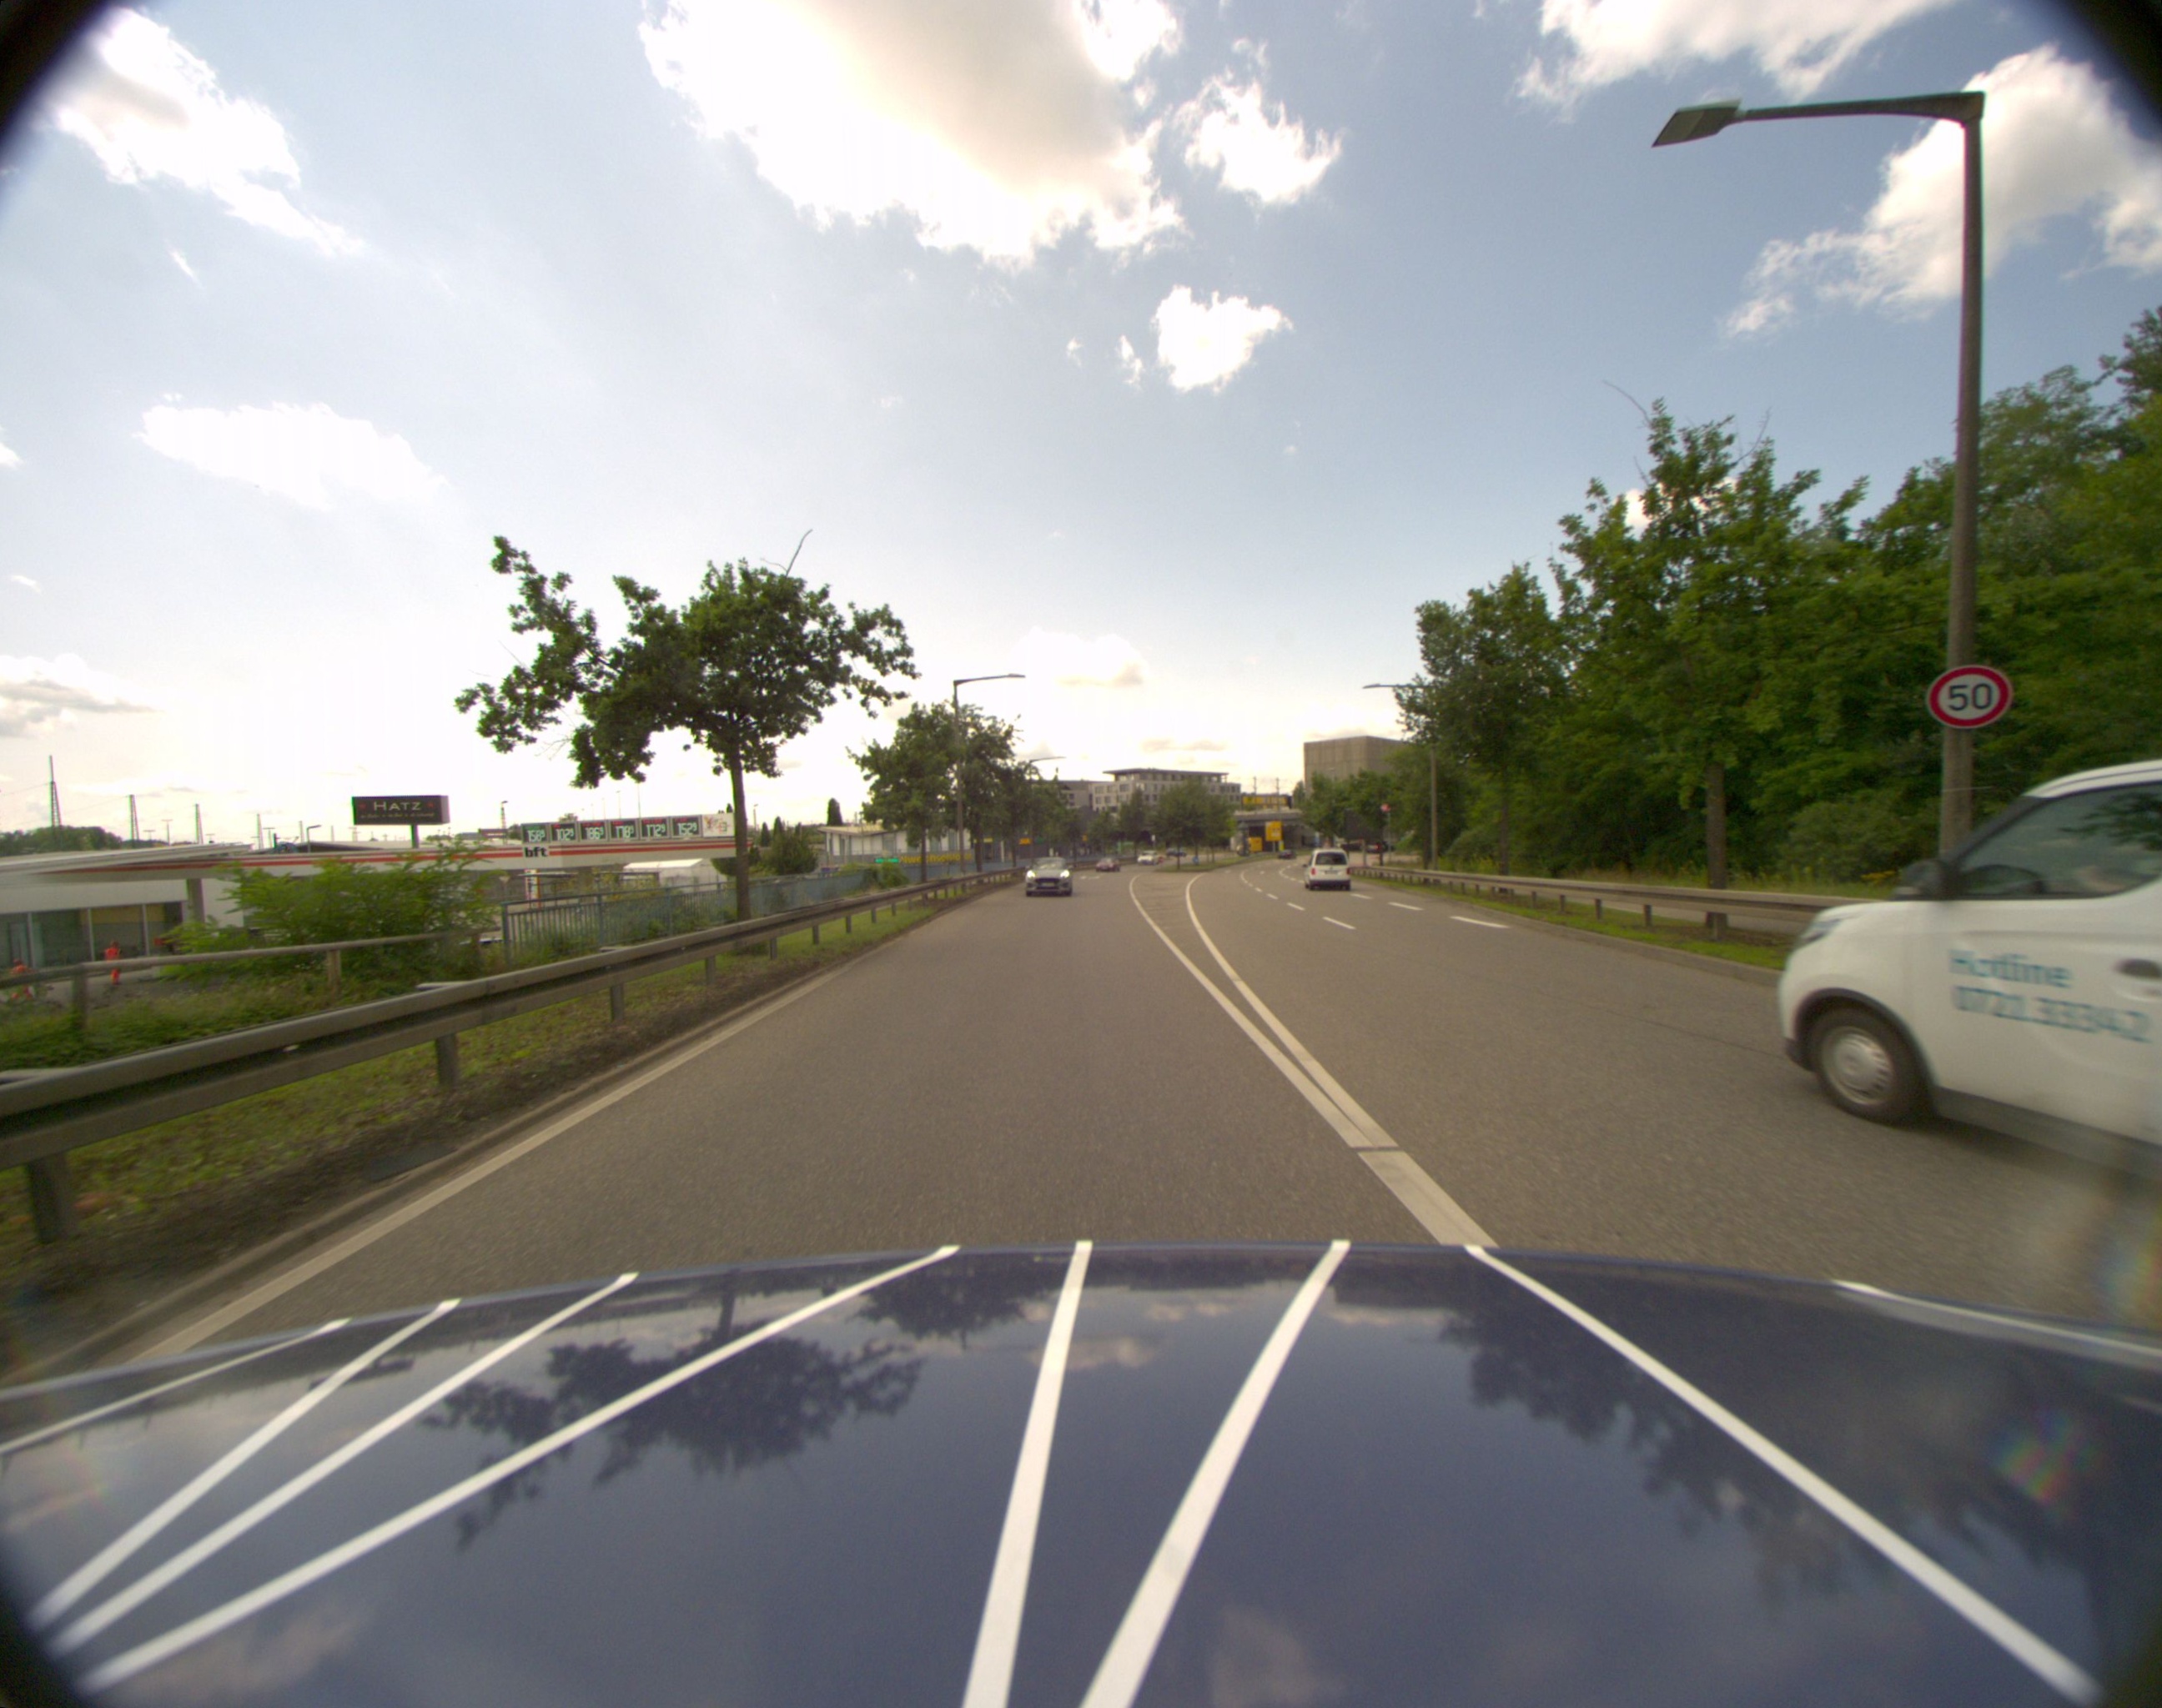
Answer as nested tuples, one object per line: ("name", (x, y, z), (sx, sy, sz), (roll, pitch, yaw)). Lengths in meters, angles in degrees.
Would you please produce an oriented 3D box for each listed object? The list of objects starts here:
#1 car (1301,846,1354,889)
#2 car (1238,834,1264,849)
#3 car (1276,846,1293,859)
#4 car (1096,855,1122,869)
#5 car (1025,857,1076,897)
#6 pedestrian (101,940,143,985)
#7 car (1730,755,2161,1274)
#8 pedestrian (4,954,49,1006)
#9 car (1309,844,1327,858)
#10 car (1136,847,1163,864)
("car", (11.175, 0.594, 34.683), (1.777, 1.852, 4.128), (-1, 0, 10))
("car", (29.201, -2.129, 130.460), (1.995, 2.306, 4.895), (-3, 1, 43))
("car", (29.455, -0.292, 109.741), (1.975, 1.825, 4.005), (1, 1, 20))
("car", (2.634, 0.759, 70.773), (1.845, 1.201, 4.003), (-1, 0, 11))
("car", (-1.194, 0.906, 31.472), (1.827, 1.516, 4.000), (-1, 0, 1))
("pedestrian", (-42.240, 4.766, 33.474), (0.819, 1.848, 0.753), (-1, 4, 15))
("car", (4.674, 0.557, 2.021), (1.779, 1.856, 5.269), (-1, 0, 6))
("pedestrian", (-41.478, 4.946, 29.911), (0.818, 1.848, 0.854), (0, 3, 41))
("car", (34.807, -0.516, 111.498), (1.975, 2.002, 4.006), (1, 2, 25))
("car", (8.318, 0.140, 92.230), (1.995, 2.002, 4.006), (1, 2, 25))
